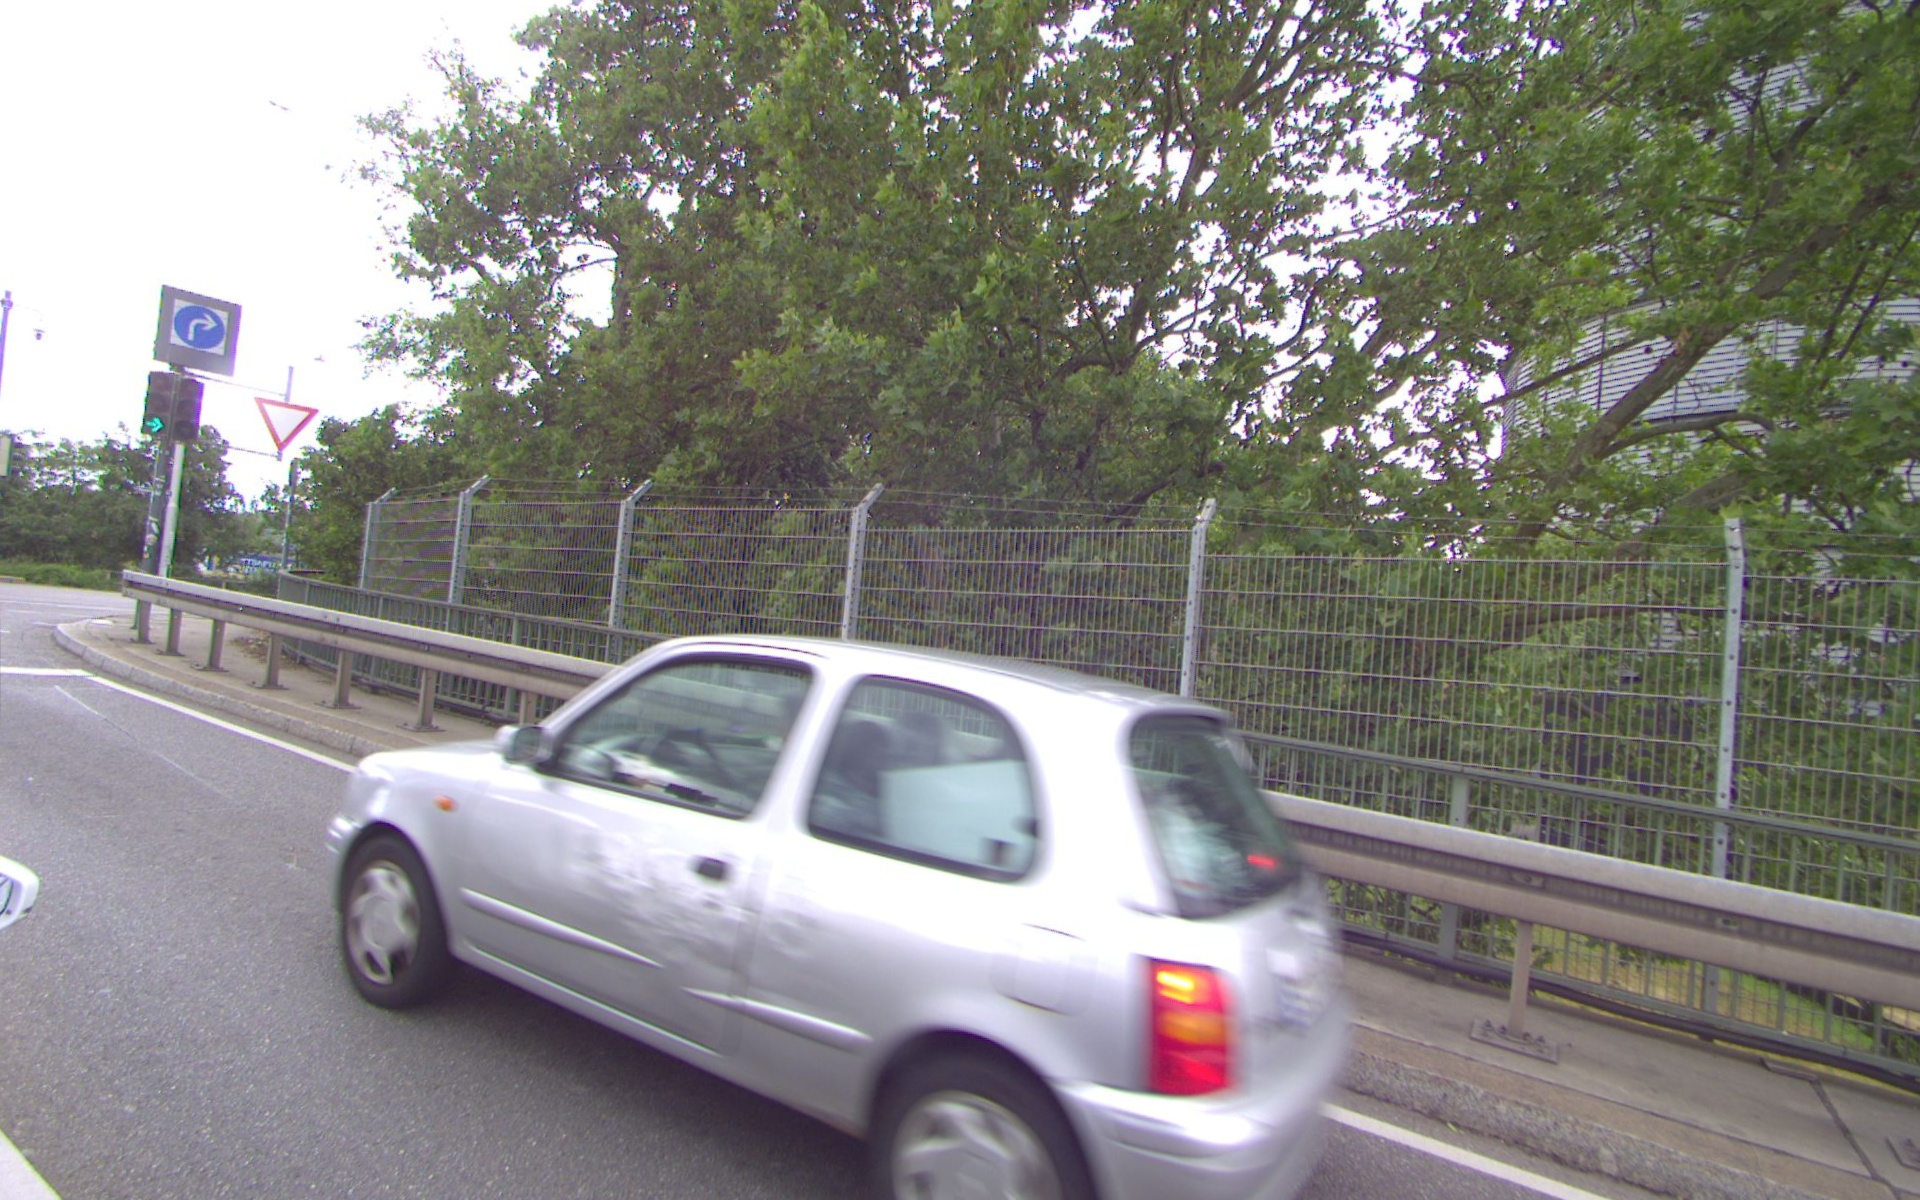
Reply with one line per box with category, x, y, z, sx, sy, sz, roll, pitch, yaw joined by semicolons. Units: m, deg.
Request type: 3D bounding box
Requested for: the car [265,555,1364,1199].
car;-0.599;0.786;3.474;3.385;1.448;1.588;6;-1;31
